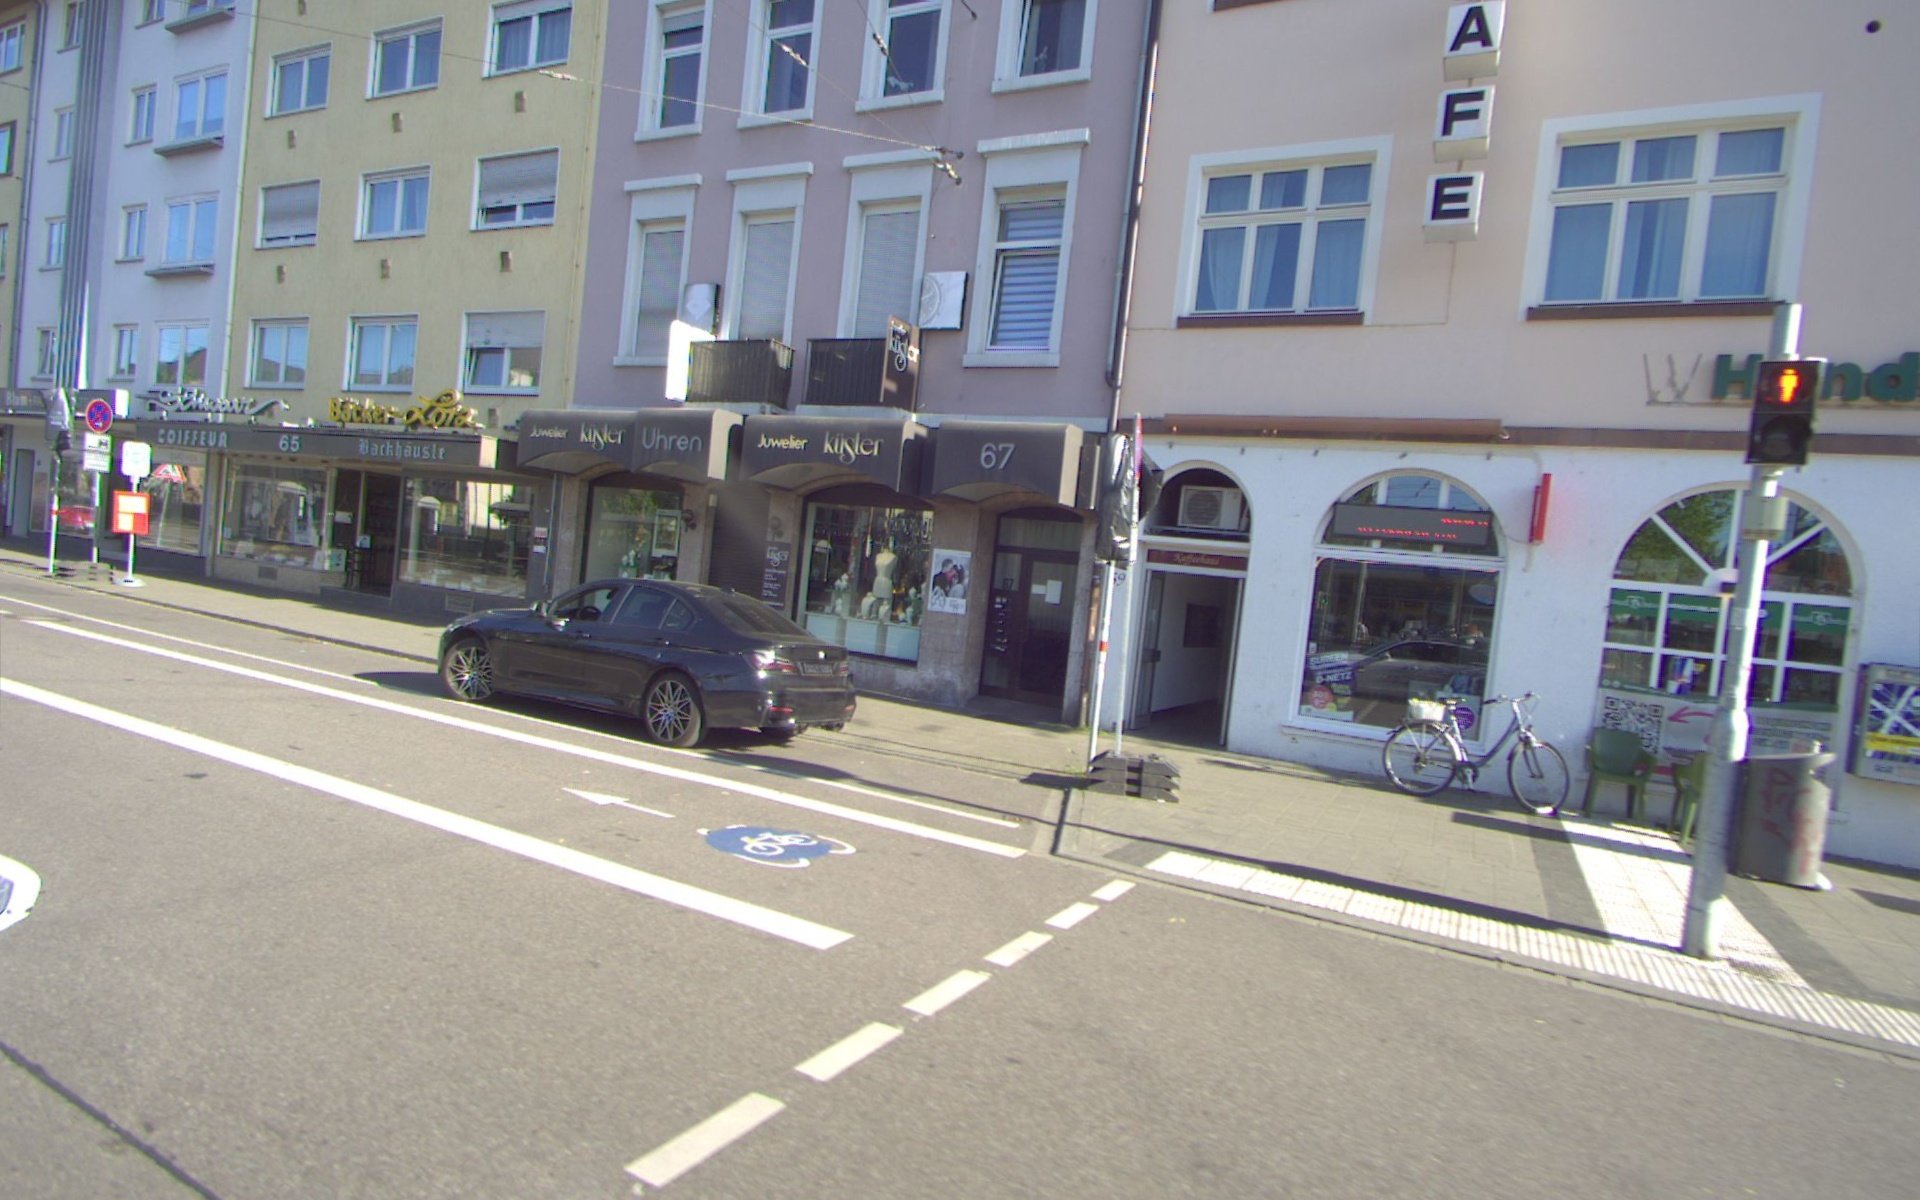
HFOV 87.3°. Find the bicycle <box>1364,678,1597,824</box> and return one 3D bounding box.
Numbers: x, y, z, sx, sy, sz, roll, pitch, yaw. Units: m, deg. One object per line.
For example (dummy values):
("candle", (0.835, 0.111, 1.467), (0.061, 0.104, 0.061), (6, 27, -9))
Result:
("bicycle", (5.111, 1.463, 10.000), (1.829, 1.123, 0.697), (6, 1, 12))

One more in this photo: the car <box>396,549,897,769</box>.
("car", (-3.186, 0.504, 10.106), (4.632, 1.447, 1.905), (7, -1, 25))
